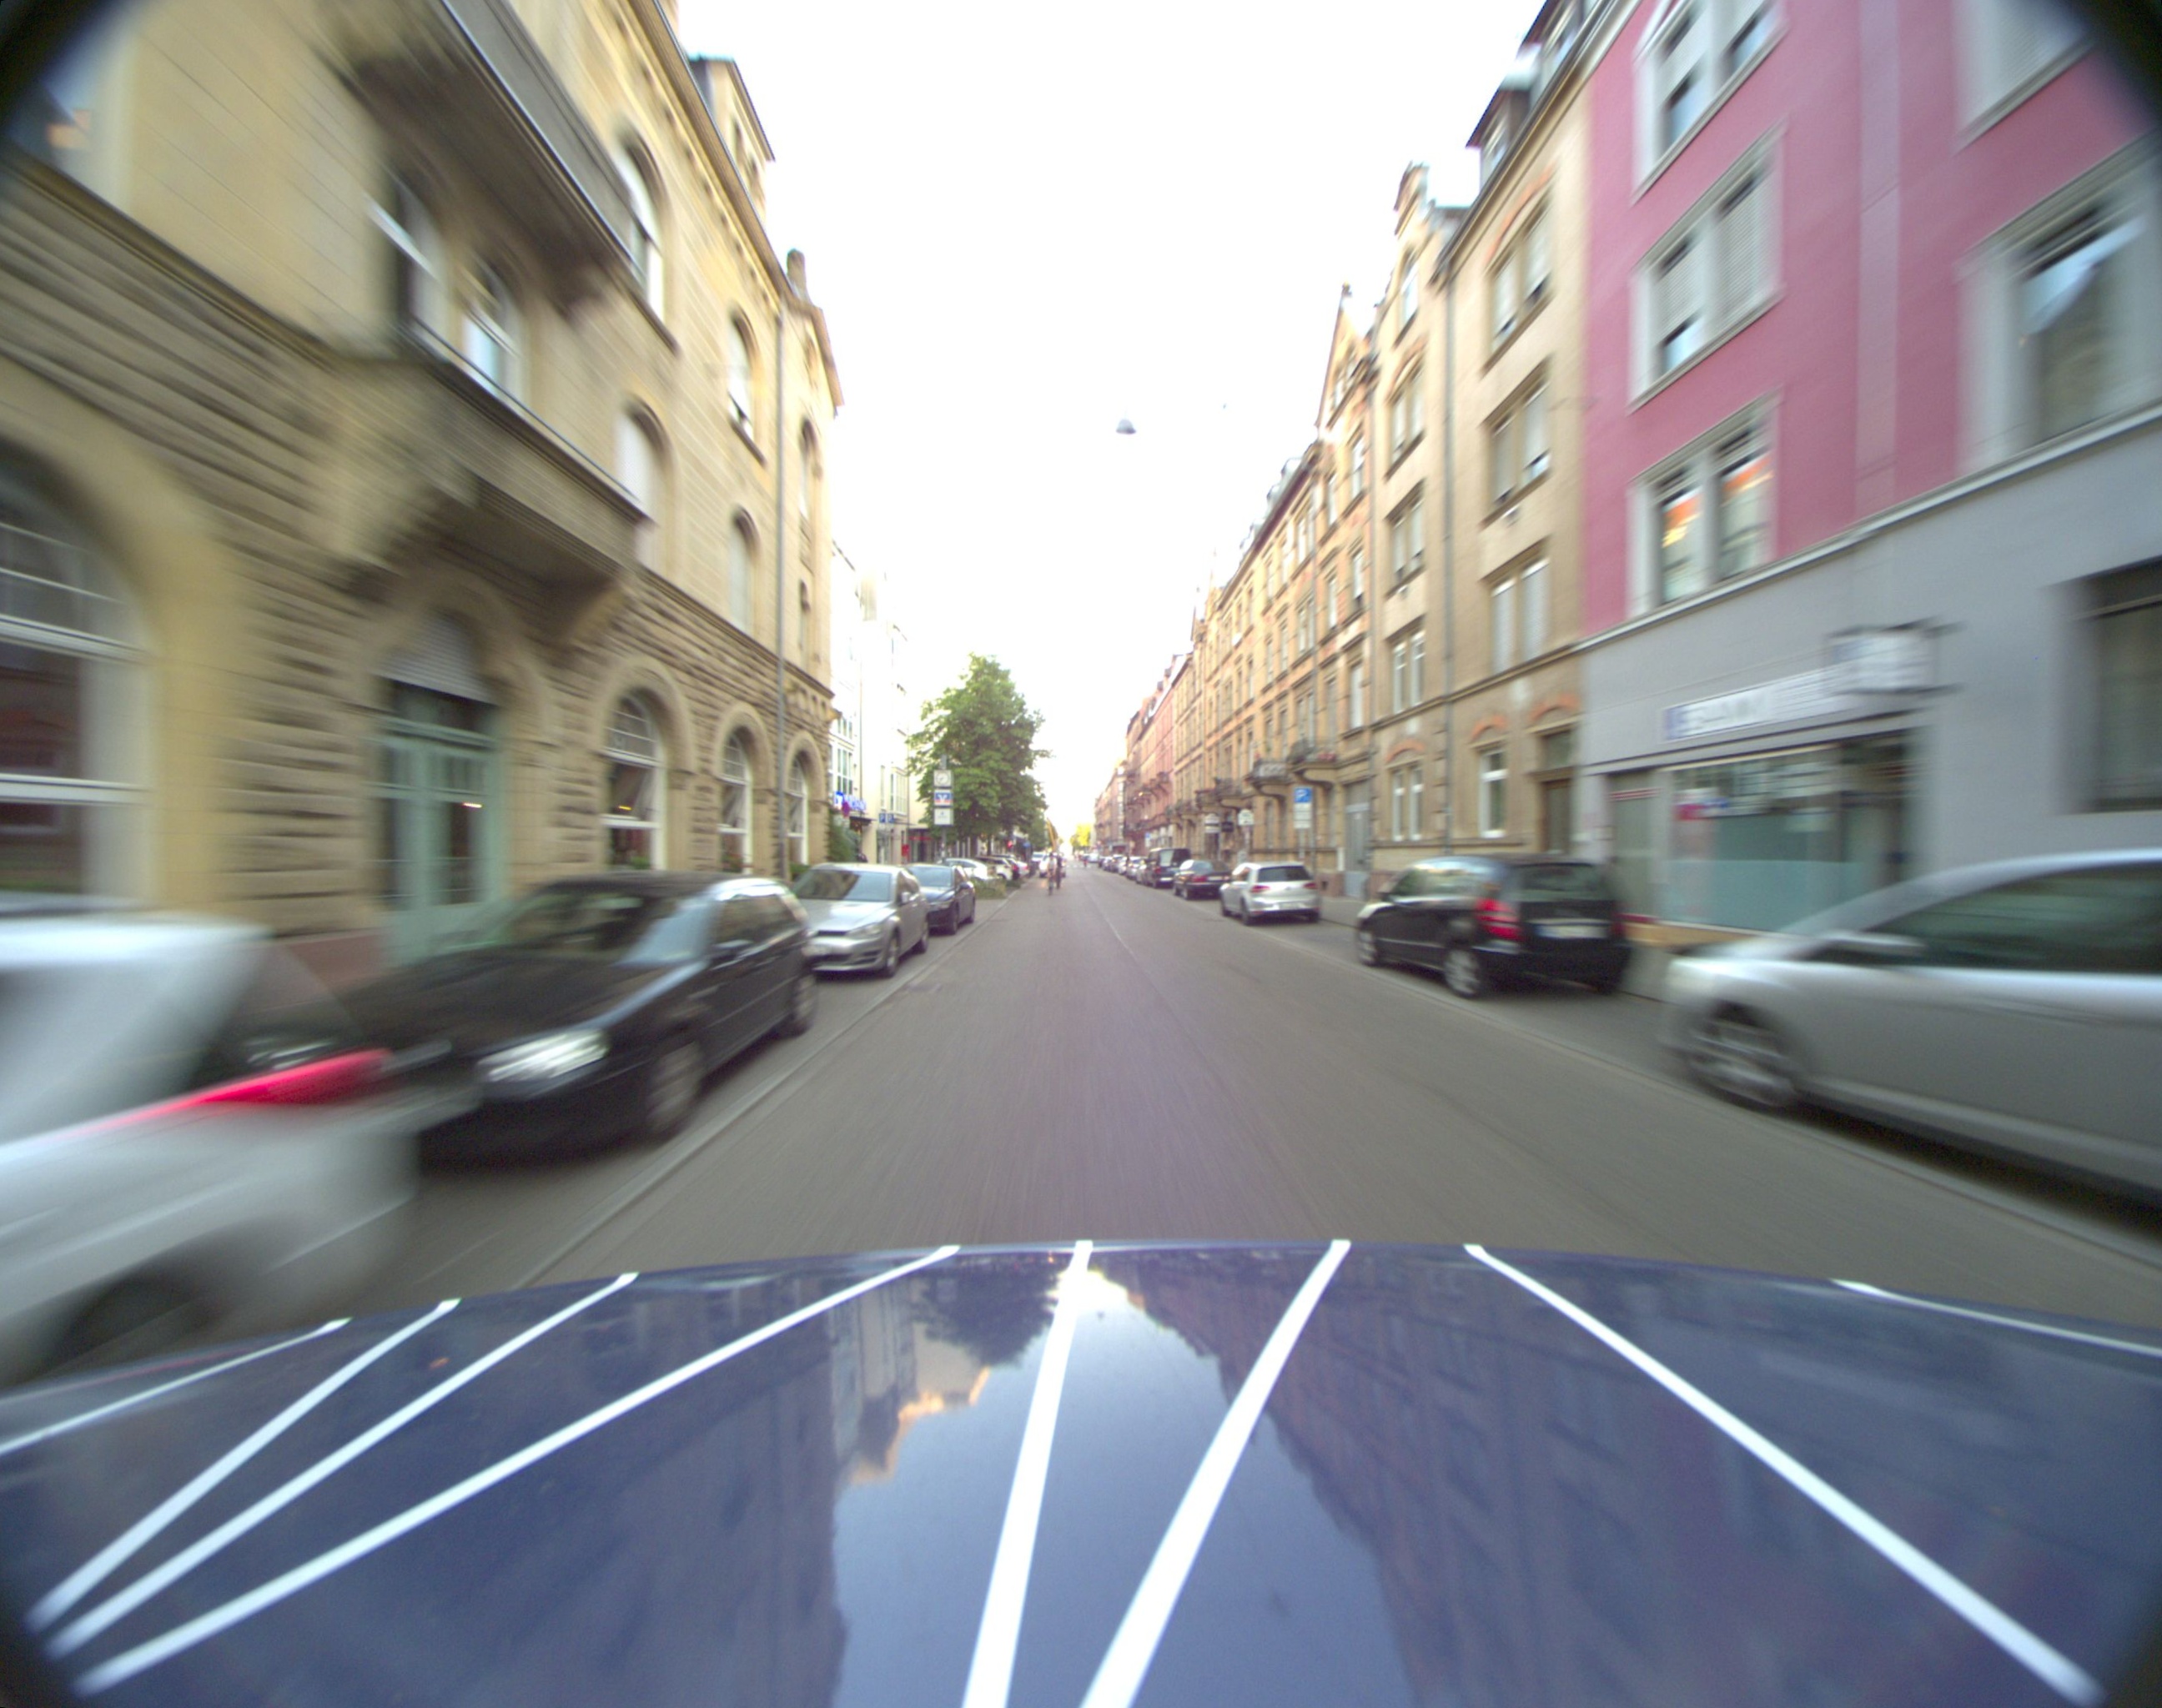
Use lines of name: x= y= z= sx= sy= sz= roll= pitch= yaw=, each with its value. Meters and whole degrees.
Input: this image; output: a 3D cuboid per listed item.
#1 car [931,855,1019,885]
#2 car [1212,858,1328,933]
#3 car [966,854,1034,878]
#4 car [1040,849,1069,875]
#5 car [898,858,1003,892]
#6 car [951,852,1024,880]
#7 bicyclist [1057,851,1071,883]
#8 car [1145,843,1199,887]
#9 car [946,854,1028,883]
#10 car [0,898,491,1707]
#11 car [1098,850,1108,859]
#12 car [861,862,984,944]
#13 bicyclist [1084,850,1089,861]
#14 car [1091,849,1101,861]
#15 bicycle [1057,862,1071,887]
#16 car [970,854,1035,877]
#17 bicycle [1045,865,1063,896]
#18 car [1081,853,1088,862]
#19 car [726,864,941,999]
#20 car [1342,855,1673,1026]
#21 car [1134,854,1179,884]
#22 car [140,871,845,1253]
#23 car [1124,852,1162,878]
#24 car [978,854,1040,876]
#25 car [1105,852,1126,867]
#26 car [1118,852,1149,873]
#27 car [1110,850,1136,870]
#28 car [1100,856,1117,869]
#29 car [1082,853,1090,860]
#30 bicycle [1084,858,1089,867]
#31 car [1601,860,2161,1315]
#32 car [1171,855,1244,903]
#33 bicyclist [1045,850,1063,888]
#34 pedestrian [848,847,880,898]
car: x=-5.452 y=0.811 z=39.442 sx=4.302 sy=1.520 sz=1.823 roll=0 pitch=0 yaw=-2
car: x=4.538 y=0.931 z=18.882 sx=1.757 sy=1.466 sz=4.057 roll=-6 pitch=0 yaw=0
car: x=-5.289 y=0.789 z=49.998 sx=4.302 sy=1.527 sz=1.823 roll=0 pitch=0 yaw=-2
car: x=-1.933 y=0.575 z=56.291 sx=1.957 sy=1.729 sz=4.284 roll=-2 pitch=0 yaw=-1
car: x=-5.657 y=0.896 z=33.241 sx=4.302 sy=1.443 sz=1.823 roll=0 pitch=0 yaw=-2
car: x=-5.767 y=0.709 z=47.171 sx=4.302 sy=1.666 sz=1.823 roll=0 pitch=0 yaw=-2
bicyclist: x=-0.814 y=0.612 z=36.665 sx=0.686 sy=1.503 sz=0.973 roll=0 pitch=1 yaw=-1
car: x=4.403 y=0.530 z=37.508 sx=1.874 sy=1.949 sz=4.291 roll=-3 pitch=0 yaw=-2
car: x=-5.123 y=0.780 z=41.844 sx=4.302 sy=1.520 sz=1.823 roll=0 pitch=0 yaw=-2
car: x=-3.065 y=0.930 z=0.425 sx=1.767 sy=1.476 sz=4.464 roll=3 pitch=0 yaw=3
car: x=4.116 y=0.050 z=143.591 sx=1.757 sy=1.426 sz=4.057 roll=-6 pitch=0 yaw=0
car: x=-3.348 y=0.967 z=16.931 sx=1.768 sy=1.476 sz=4.556 roll=1 pitch=0 yaw=0
bicyclist: x=0.714 y=0.264 z=105.334 sx=0.686 sy=1.503 sz=1.036 roll=0 pitch=1 yaw=-1
car: x=2.935 y=0.223 z=153.228 sx=1.757 sy=2.264 sz=4.057 roll=-6 pitch=0 yaw=0
bicycle: x=-0.815 y=0.957 z=36.805 sx=0.686 sy=1.145 sz=2.115 roll=0 pitch=0 yaw=-1
car: x=-5.358 y=0.805 z=52.306 sx=4.302 sy=1.520 sz=1.823 roll=0 pitch=0 yaw=-2
bicycle: x=-1.069 y=1.054 z=30.659 sx=0.686 sy=1.145 sz=2.115 roll=0 pitch=0 yaw=-1
car: x=0.926 y=0.851 z=196.270 sx=1.941 sy=2.264 sz=4.057 roll=0 pitch=0 yaw=0
car: x=-3.310 y=0.941 z=11.163 sx=1.768 sy=1.476 sz=4.556 roll=1 pitch=0 yaw=-2
car: x=4.880 y=0.846 z=9.464 sx=1.757 sy=1.583 sz=4.056 roll=-2 pitch=0 yaw=-1
car: x=4.163 y=0.799 z=42.666 sx=1.758 sy=1.466 sz=4.056 roll=-6 pitch=0 yaw=-4
car: x=-3.192 y=0.960 z=5.515 sx=1.769 sy=1.476 sz=4.555 roll=3 pitch=0 yaw=-4
car: x=4.058 y=0.693 z=50.260 sx=1.758 sy=1.466 sz=4.056 roll=-6 pitch=0 yaw=-4
car: x=-5.169 y=0.775 z=54.784 sx=4.302 sy=1.520 sz=1.823 roll=0 pitch=0 yaw=-2
car: x=3.668 y=0.552 z=81.266 sx=1.758 sy=1.426 sz=4.056 roll=-6 pitch=0 yaw=-4
car: x=4.071 y=0.628 z=59.311 sx=1.758 sy=1.426 sz=4.056 roll=-6 pitch=0 yaw=-4
car: x=3.826 y=0.545 z=69.621 sx=1.758 sy=1.663 sz=4.056 roll=-6 pitch=0 yaw=-4
car: x=3.468 y=1.040 z=95.696 sx=1.758 sy=1.426 sz=4.056 roll=-6 pitch=0 yaw=-1
car: x=1.184 y=0.649 z=191.166 sx=1.757 sy=1.426 sz=4.057 roll=-6 pitch=0 yaw=0
bicycle: x=0.715 y=1.150 z=105.439 sx=0.686 sy=1.145 sz=2.115 roll=0 pitch=0 yaw=-1
car: x=4.849 y=0.872 z=3.246 sx=1.838 sy=1.583 sz=4.671 roll=-2 pitch=0 yaw=-3
car: x=4.547 y=0.860 z=27.954 sx=1.758 sy=1.466 sz=4.279 roll=-6 pitch=0 yaw=-1
bicyclist: x=-1.068 y=0.576 z=30.525 sx=0.686 sy=1.503 sz=0.973 roll=0 pitch=1 yaw=-1
pedestrian: x=-7.617 y=0.629 z=26.676 sx=0.851 sy=1.756 sz=0.833 roll=1 pitch=1 yaw=3
